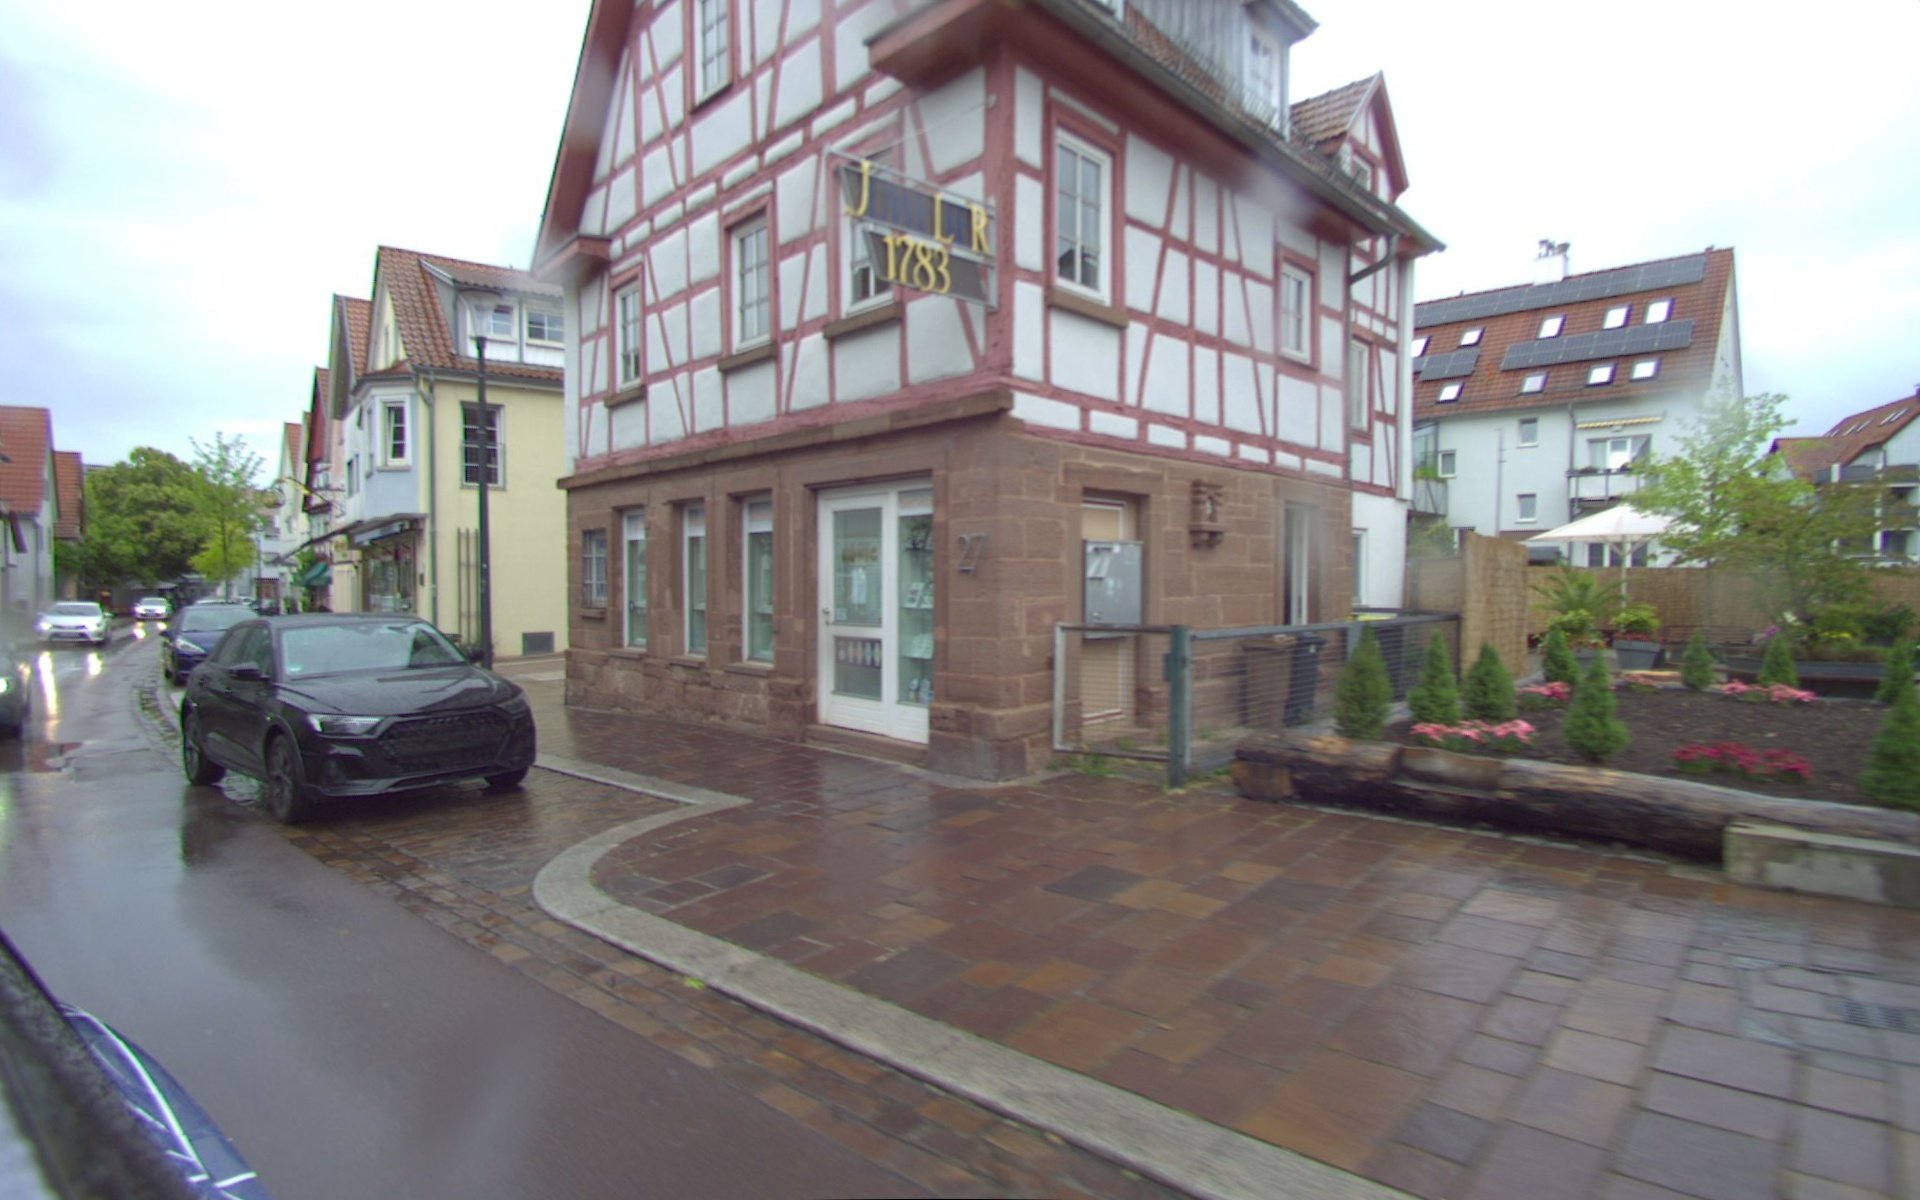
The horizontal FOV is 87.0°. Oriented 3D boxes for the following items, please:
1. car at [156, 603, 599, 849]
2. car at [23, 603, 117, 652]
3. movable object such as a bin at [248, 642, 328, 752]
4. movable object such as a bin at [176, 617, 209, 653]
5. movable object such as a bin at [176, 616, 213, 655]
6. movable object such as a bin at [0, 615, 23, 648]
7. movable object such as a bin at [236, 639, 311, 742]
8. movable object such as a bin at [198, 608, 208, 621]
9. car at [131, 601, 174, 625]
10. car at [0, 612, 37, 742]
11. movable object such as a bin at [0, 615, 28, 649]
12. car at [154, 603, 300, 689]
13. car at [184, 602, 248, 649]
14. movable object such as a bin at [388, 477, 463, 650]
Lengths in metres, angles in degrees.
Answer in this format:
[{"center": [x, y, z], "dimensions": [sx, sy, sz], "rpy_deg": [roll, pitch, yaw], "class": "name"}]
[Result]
[{"center": [-5.019, 0.832, 8.519], "dimensions": [3.997, 1.505, 1.973], "rpy_deg": [-1, 1, 40], "class": "car"}, {"center": [-30.576, 0.894, 34.890], "dimensions": [1.967, 1.464, 4.011], "rpy_deg": [0, 1, -34], "class": "car"}, {"center": [-7.566, 1.061, 11.393], "dimensions": [0.622, 1.131, 0.734], "rpy_deg": [-1, 1, -44], "class": "movable object such as a bin"}, {"center": [-25.116, 1.134, 33.117], "dimensions": [0.805, 1.114, 0.611], "rpy_deg": [0, 1, -41], "class": "movable object such as a bin"}, {"center": [-23.652, 1.088, 31.264], "dimensions": [0.805, 1.114, 0.611], "rpy_deg": [-5, 4, -41], "class": "movable object such as a bin"}, {"center": [-35.341, 1.166, 37.590], "dimensions": [0.709, 1.210, 0.580], "rpy_deg": [0, 1, -34], "class": "movable object such as a bin"}, {"center": [-8.156, 1.055, 12.022], "dimensions": [0.622, 1.122, 0.734], "rpy_deg": [-1, 1, -44], "class": "movable object such as a bin"}, {"center": [-67.769, 1.270, 90.593], "dimensions": [0.537, 1.158, 0.587], "rpy_deg": [0, 1, -10], "class": "movable object such as a bin"}, {"center": [-54.274, 0.853, 68.058], "dimensions": [1.967, 1.464, 4.011], "rpy_deg": [0, 1, -34], "class": "car"}, {"center": [-12.740, 0.874, 12.393], "dimensions": [1.969, 1.417, 4.901], "rpy_deg": [-1, 0, -41], "class": "car"}, {"center": [-35.695, 1.199, 38.178], "dimensions": [0.709, 1.210, 0.574], "rpy_deg": [0, 1, -34], "class": "movable object such as a bin"}, {"center": [-14.714, 0.839, 20.226], "dimensions": [1.969, 1.483, 4.006], "rpy_deg": [-2, 1, -41], "class": "car"}, {"center": [-27.381, 0.893, 37.344], "dimensions": [1.802, 1.578, 4.010], "rpy_deg": [0, 1, -35], "class": "car"}, {"center": [-6.552, -0.437, 12.404], "dimensions": [0.622, 2.029, 0.747], "rpy_deg": [0, 1, -44], "class": "movable object such as a bin"}]
